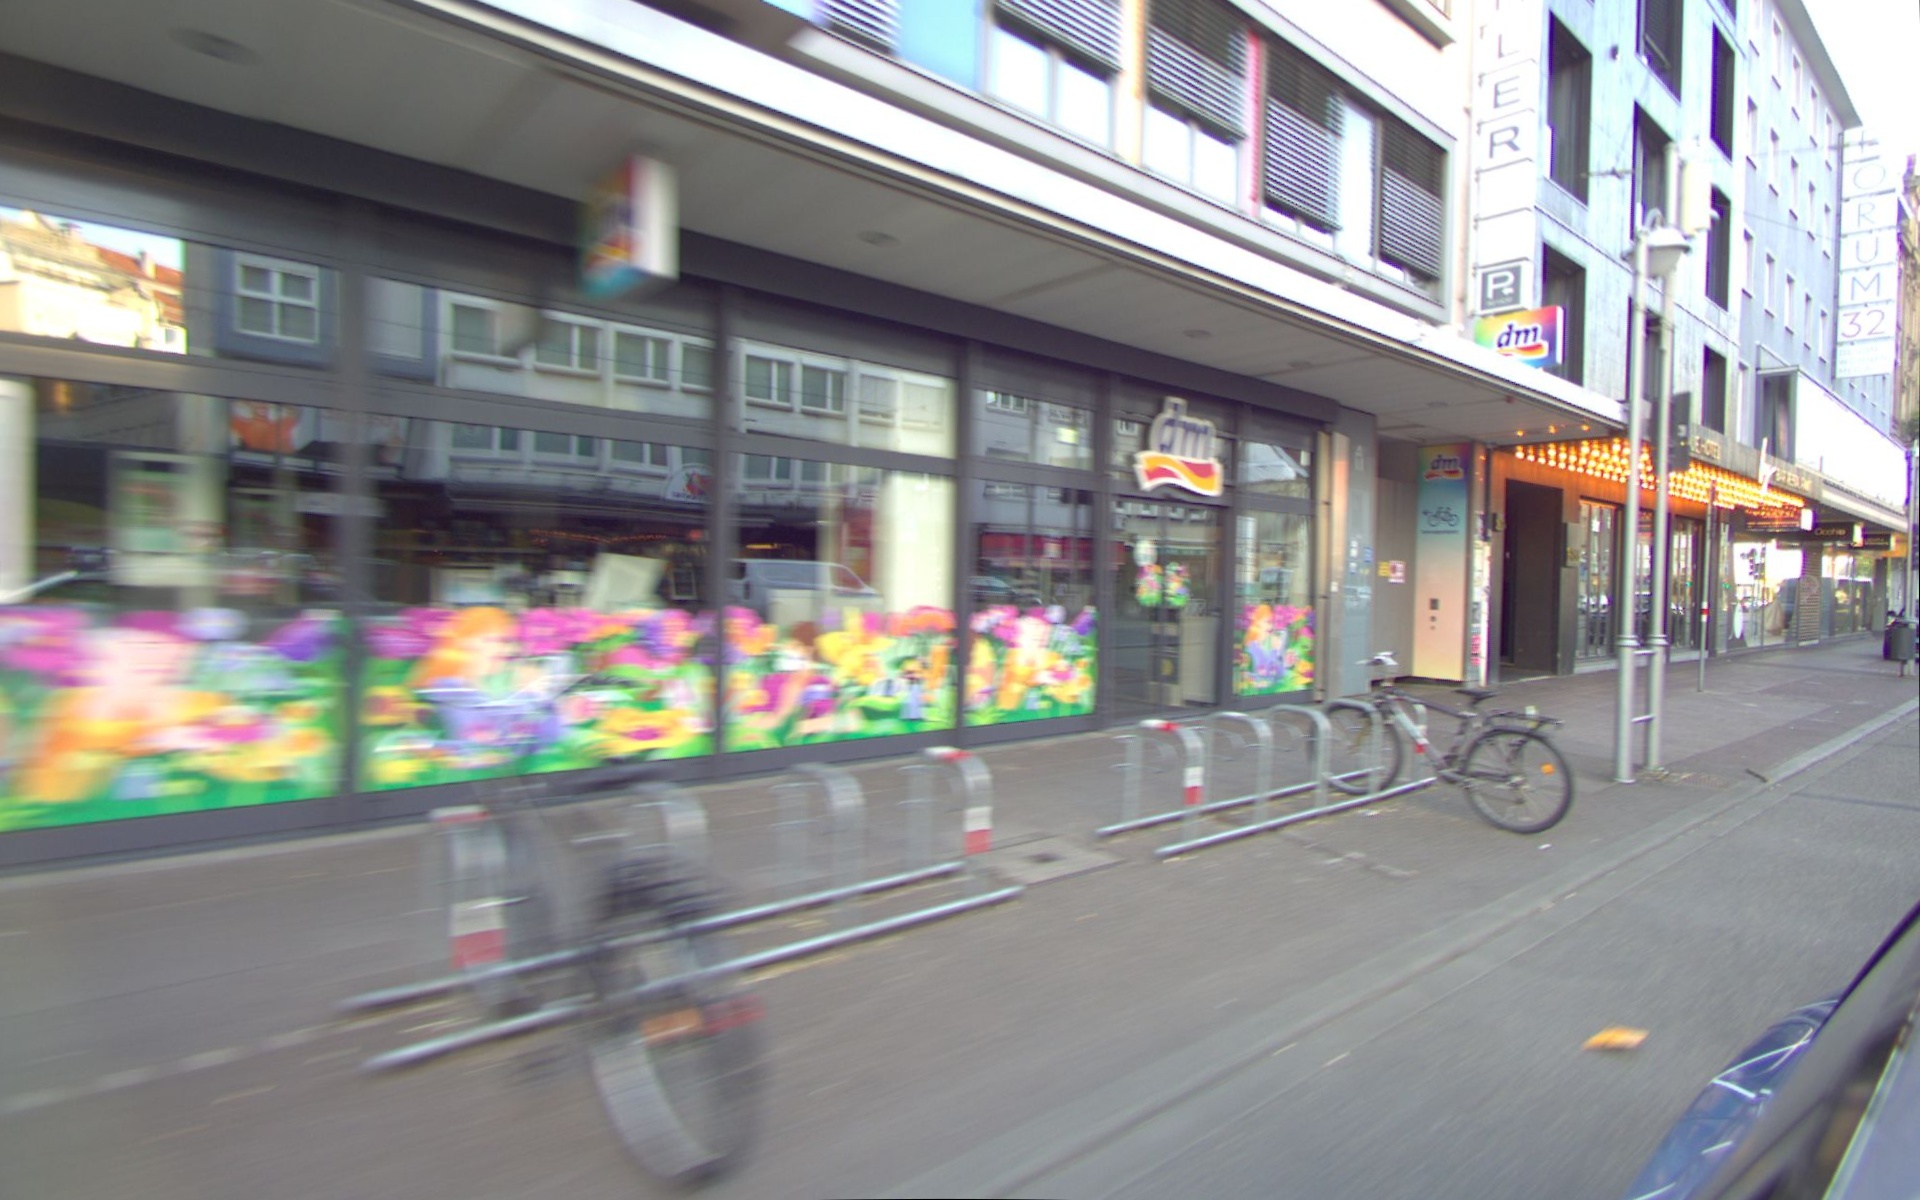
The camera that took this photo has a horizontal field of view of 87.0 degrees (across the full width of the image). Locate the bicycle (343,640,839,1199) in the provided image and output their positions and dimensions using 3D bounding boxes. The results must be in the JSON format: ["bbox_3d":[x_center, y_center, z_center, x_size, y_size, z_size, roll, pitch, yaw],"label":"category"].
[{"bbox_3d":[-1.150,0.756,2.836,0.631,1.123,1.842,0,3,-43],"label":"bicycle"}]

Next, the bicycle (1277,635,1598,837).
[{"bbox_3d":[3.077,0.813,6.684,0.566,0.984,1.797,0,4,-43],"label":"bicycle"}]

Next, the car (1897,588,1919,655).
[{"bbox_3d":[24.410,0.519,24.775,3.897,1.560,1.743,-1,2,-41],"label":"car"}]
